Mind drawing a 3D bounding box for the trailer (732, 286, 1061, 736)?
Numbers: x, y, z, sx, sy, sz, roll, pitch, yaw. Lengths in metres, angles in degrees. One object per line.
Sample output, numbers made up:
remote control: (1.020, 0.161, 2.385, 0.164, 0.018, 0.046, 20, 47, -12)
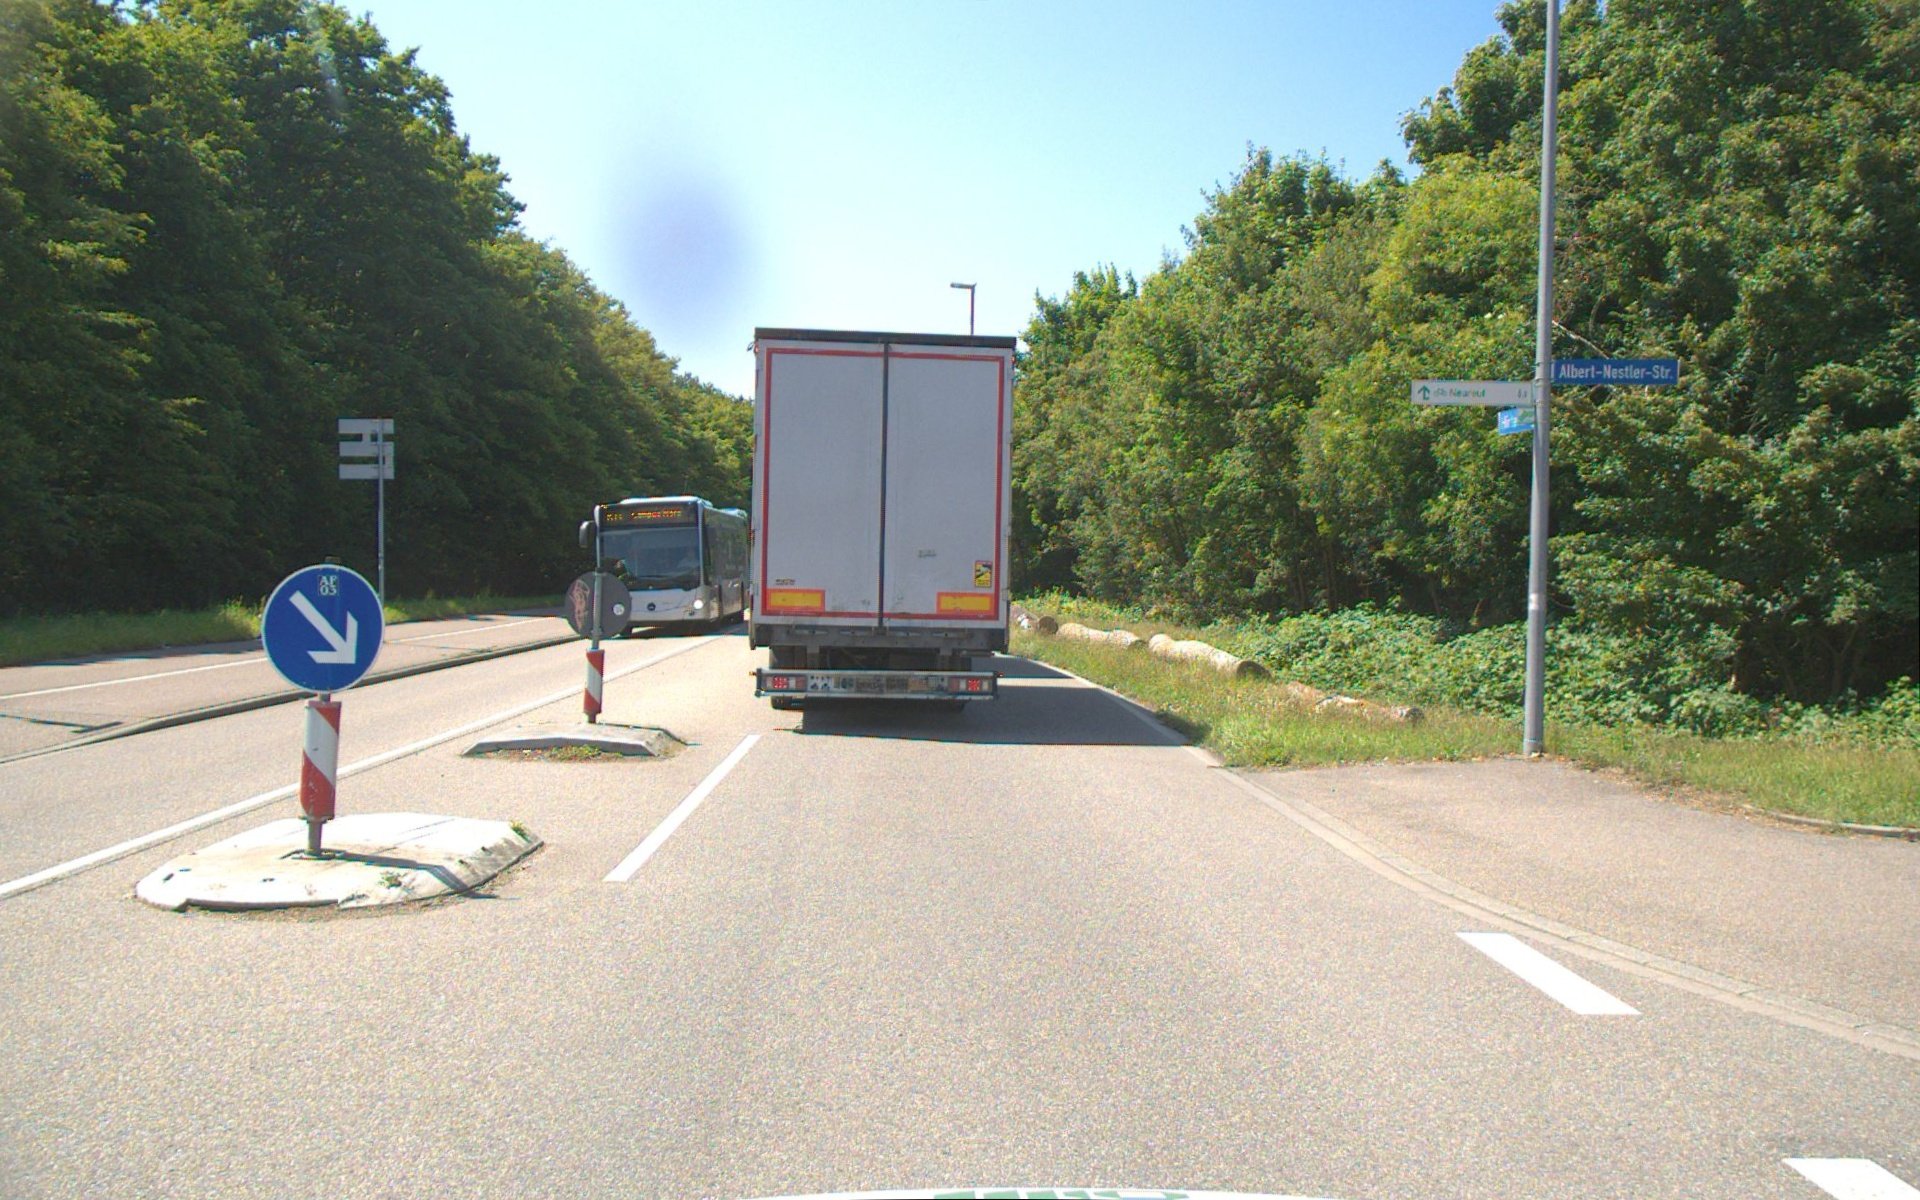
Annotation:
trailer: (-1.025, -0.917, 20.355, 3.017, 4.140, 9.799, 1, 1, -5)

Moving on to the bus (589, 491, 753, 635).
bus: (-7.093, -0.940, 42.289, 2.695, 3.098, 11.931, -2, 1, -3)
